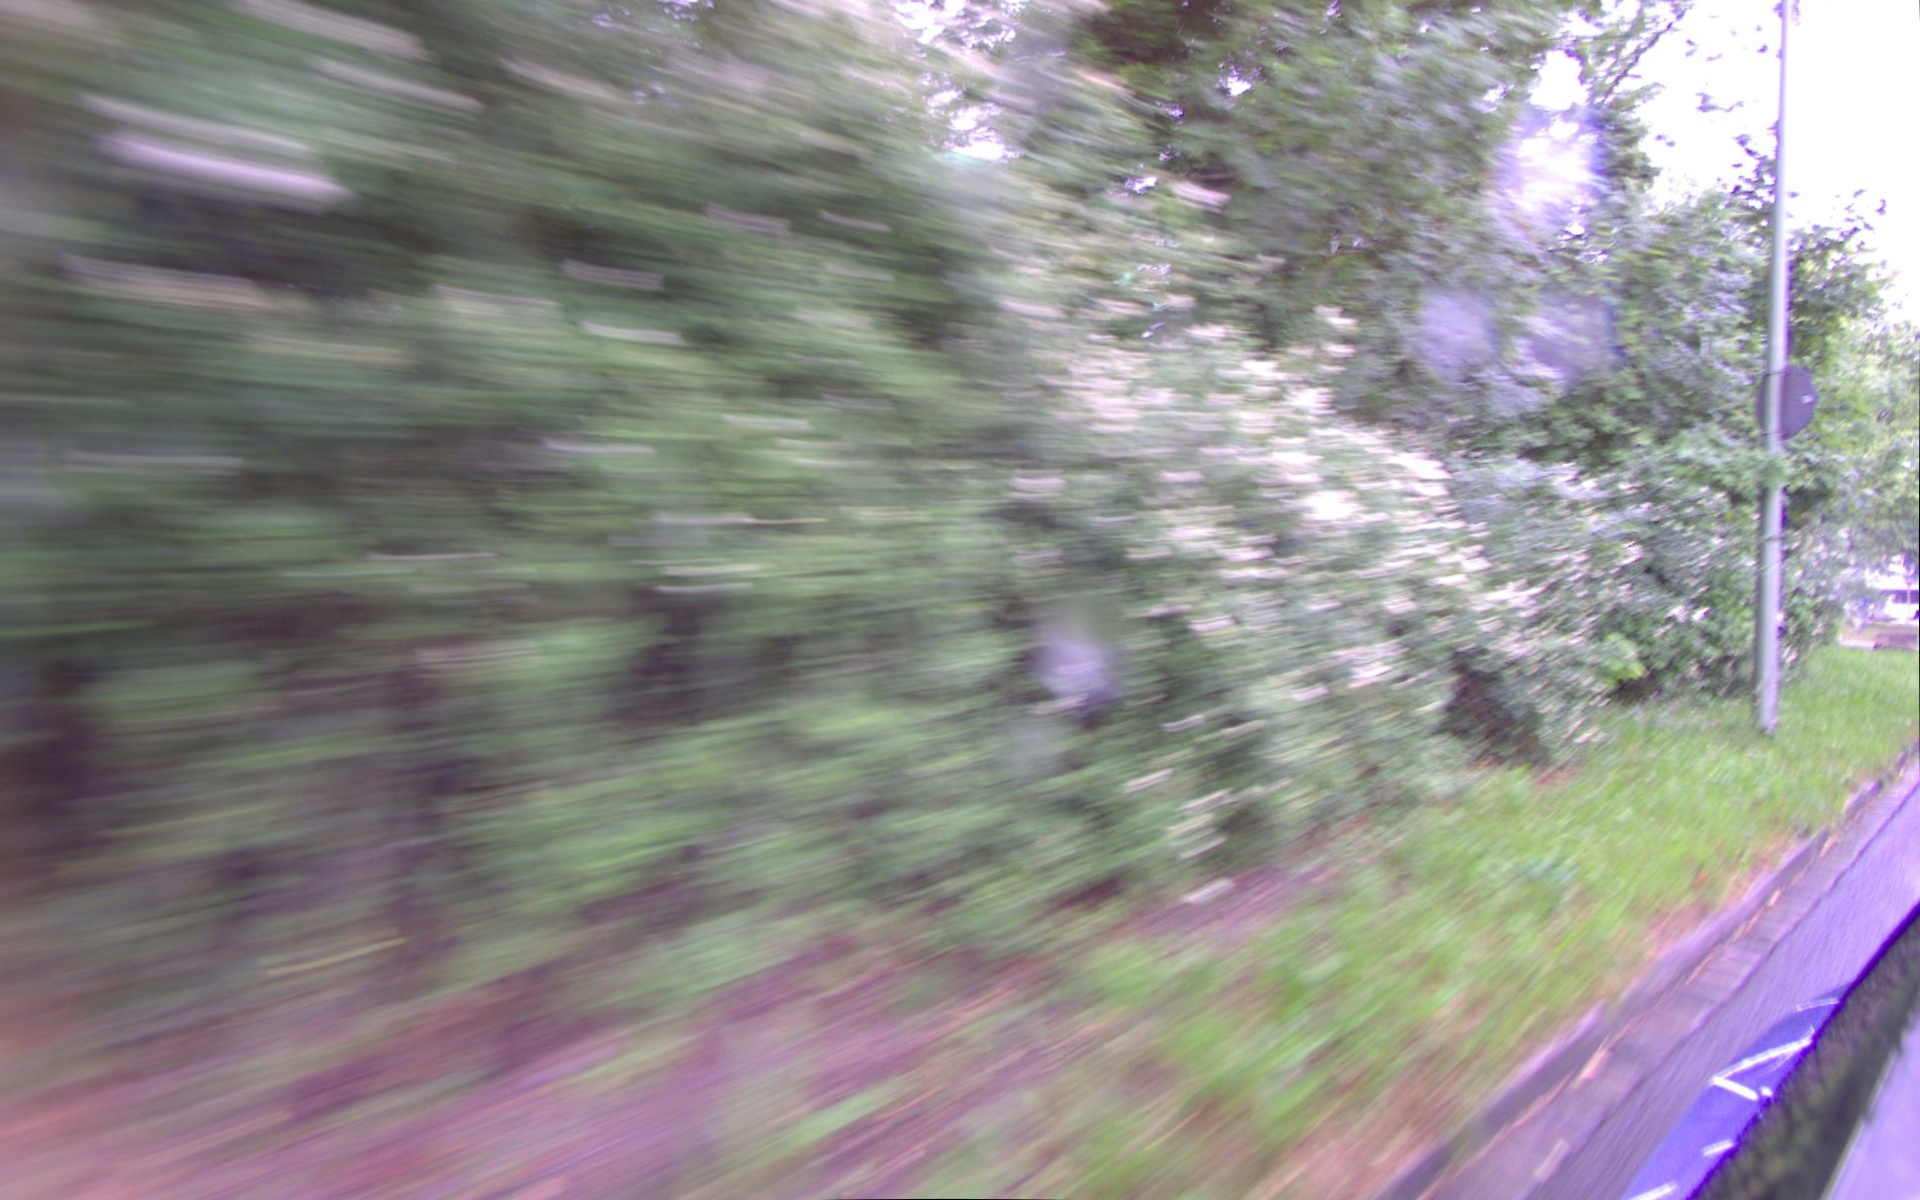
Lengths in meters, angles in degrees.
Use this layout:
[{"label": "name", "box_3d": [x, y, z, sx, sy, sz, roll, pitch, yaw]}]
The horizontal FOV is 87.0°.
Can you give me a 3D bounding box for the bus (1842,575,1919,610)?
[{"label": "bus", "box_3d": [79.291, -0.679, 84.477, 10.170, 2.822, 2.905, -1, 0, -12]}]
